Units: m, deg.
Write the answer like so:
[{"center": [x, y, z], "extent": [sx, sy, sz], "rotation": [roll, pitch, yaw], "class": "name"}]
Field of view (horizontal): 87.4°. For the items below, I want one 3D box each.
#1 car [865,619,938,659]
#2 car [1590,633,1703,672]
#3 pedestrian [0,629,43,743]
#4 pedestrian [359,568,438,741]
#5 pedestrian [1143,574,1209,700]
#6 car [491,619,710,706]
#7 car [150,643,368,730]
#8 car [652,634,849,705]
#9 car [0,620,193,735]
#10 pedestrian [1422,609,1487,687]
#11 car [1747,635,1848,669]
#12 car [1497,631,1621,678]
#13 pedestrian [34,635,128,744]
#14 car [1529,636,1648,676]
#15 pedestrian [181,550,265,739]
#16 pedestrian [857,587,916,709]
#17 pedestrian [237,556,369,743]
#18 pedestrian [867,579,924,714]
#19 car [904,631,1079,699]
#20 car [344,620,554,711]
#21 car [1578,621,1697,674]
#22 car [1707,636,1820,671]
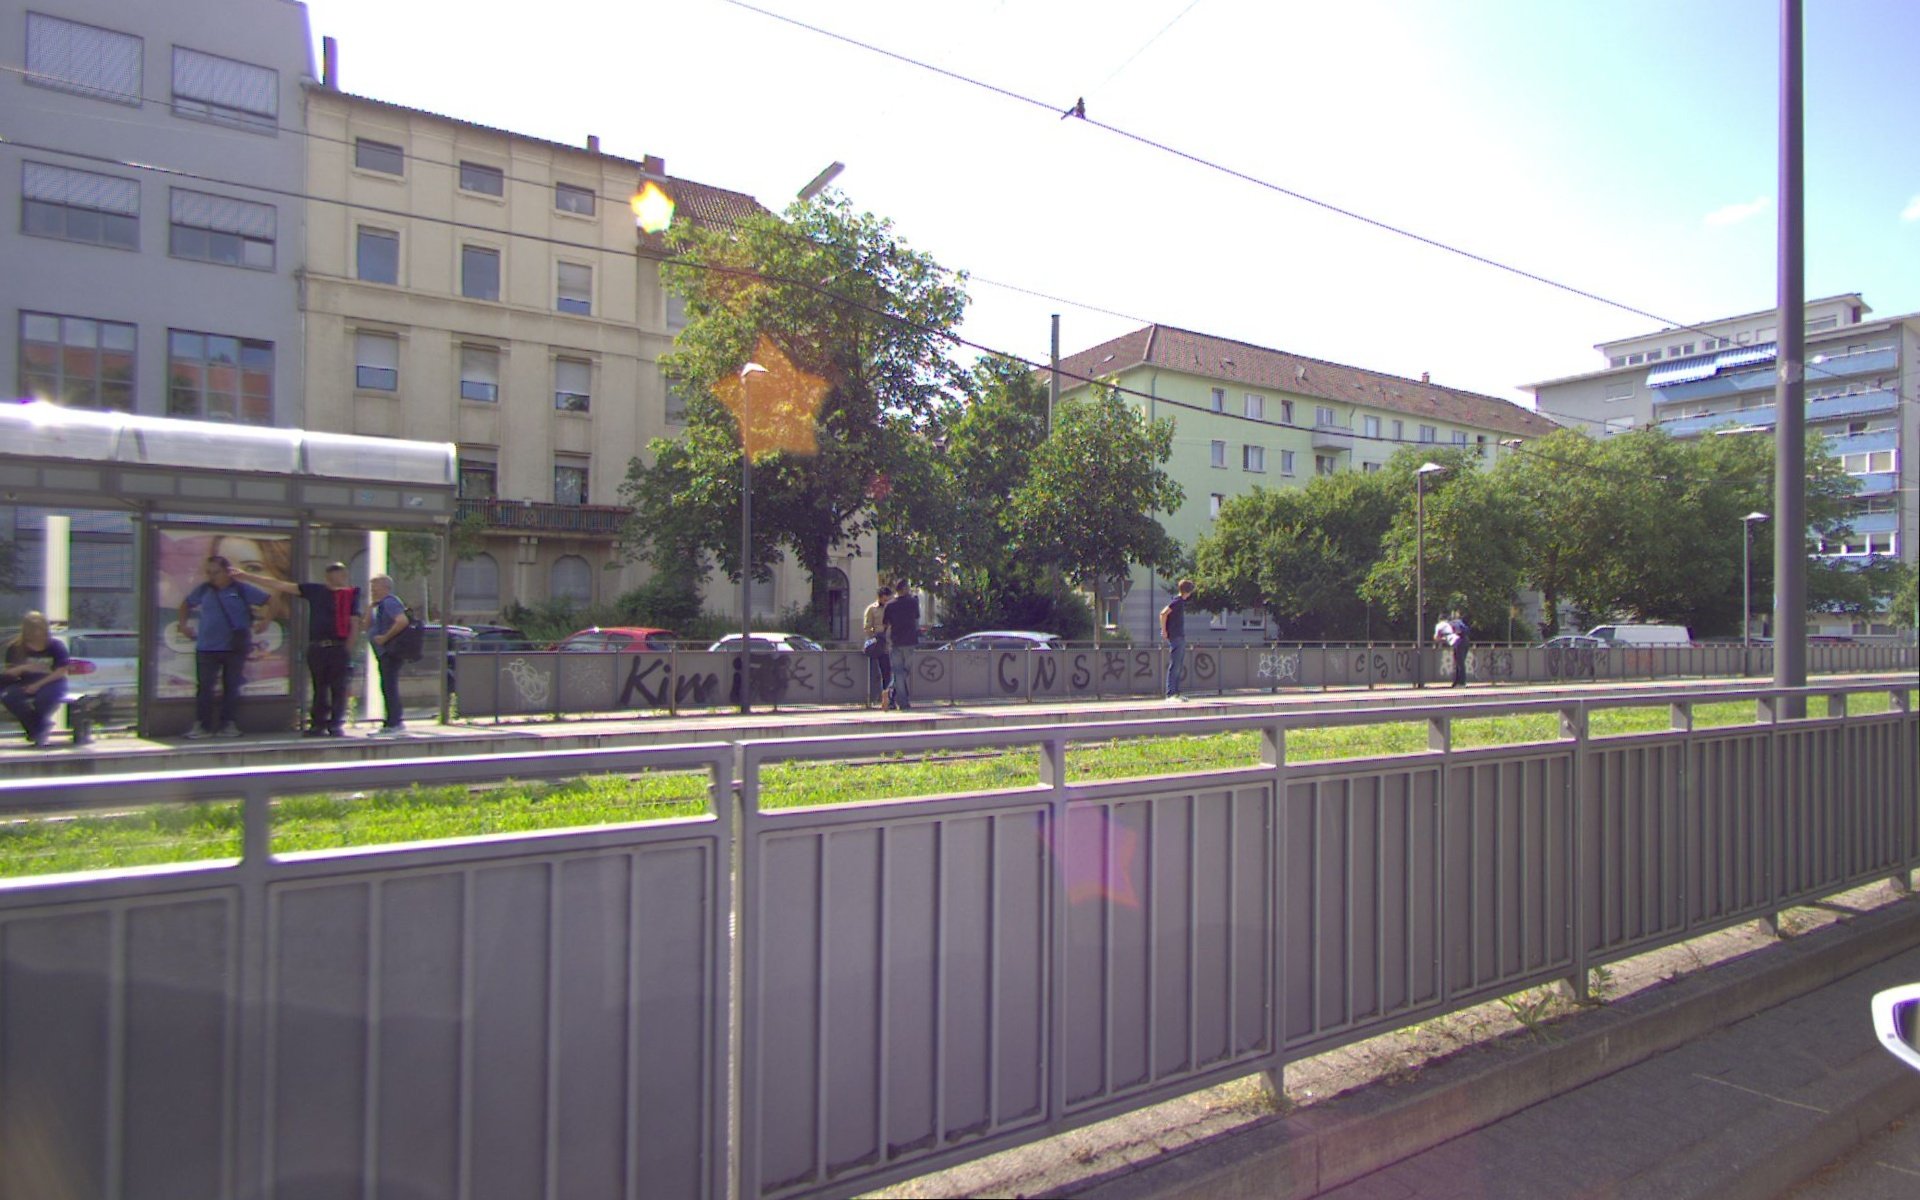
[{"center": [-2.754, 1.841, 46.517], "extent": [1.802, 1.756, 3.969], "rotation": [2, -3, -30], "class": "car"}, {"center": [29.757, 2.247, 43.688], "extent": [3.879, 1.600, 1.717], "rotation": [0, -1, 28], "class": "car"}, {"center": [-9.075, 0.802, 9.422], "extent": [0.556, 1.044, 0.650], "rotation": [2, -3, -33], "class": "pedestrian"}, {"center": [-5.612, 0.532, 10.034], "extent": [0.555, 1.654, 0.590], "rotation": [1, -2, -44], "class": "pedestrian"}, {"center": [3.389, 0.585, 15.807], "extent": [0.631, 1.916, 0.747], "rotation": [3, -2, -28], "class": "pedestrian"}, {"center": [-7.476, 1.268, 20.958], "extent": [4.055, 1.661, 1.835], "rotation": [0, -2, 20], "class": "car"}, {"center": [-12.737, 1.494, 18.220], "extent": [3.929, 1.165, 1.789], "rotation": [2, 1, 31], "class": "car"}, {"center": [-4.652, 1.504, 22.434], "extent": [3.944, 1.410, 1.816], "rotation": [0, 0, 19], "class": "car"}, {"center": [-14.714, 1.185, 16.483], "extent": [3.923, 1.549, 1.672], "rotation": [2, 1, 23], "class": "car"}, {"center": [10.446, 1.013, 21.238], "extent": [0.790, 1.599, 0.983], "rotation": [2, -2, -33], "class": "pedestrian"}, {"center": [42.032, 2.588, 50.506], "extent": [3.601, 1.600, 1.646], "rotation": [0, -1, 29], "class": "car"}, {"center": [23.136, 2.072, 38.961], "extent": [3.923, 1.662, 1.826], "rotation": [0, 0, 23], "class": "car"}, {"center": [-8.497, 0.848, 9.737], "extent": [0.556, 1.008, 0.700], "rotation": [2, -3, -33], "class": "pedestrian"}, {"center": [25.278, 2.226, 40.577], "extent": [3.926, 1.505, 1.608], "rotation": [0, -1, 27], "class": "car"}, {"center": [-7.458, 0.450, 10.189], "extent": [0.617, 1.851, 0.440], "rotation": [2, -2, -33], "class": "pedestrian"}, {"center": [-1.051, 0.685, 14.394], "extent": [0.618, 1.696, 0.604], "rotation": [2, -2, -30], "class": "pedestrian"}, {"center": [-6.519, 0.485, 10.003], "extent": [1.025, 1.765, 0.628], "rotation": [2, -2, -33], "class": "pedestrian"}, {"center": [-0.860, 0.624, 13.584], "extent": [0.612, 1.777, 0.609], "rotation": [1, -2, 10], "class": "pedestrian"}, {"center": [0.834, 1.619, 25.672], "extent": [4.071, 1.585, 1.927], "rotation": [0, -2, 19], "class": "car"}, {"center": [-9.906, 1.199, 19.446], "extent": [3.925, 1.589, 1.608], "rotation": [0, -1, 26], "class": "car"}, {"center": [28.048, 1.940, 41.745], "extent": [3.880, 2.097, 2.047], "rotation": [0, -1, 29], "class": "car"}, {"center": [37.932, 2.497, 47.552], "extent": [3.957, 1.534, 1.606], "rotation": [-1, -2, 30], "class": "car"}]
